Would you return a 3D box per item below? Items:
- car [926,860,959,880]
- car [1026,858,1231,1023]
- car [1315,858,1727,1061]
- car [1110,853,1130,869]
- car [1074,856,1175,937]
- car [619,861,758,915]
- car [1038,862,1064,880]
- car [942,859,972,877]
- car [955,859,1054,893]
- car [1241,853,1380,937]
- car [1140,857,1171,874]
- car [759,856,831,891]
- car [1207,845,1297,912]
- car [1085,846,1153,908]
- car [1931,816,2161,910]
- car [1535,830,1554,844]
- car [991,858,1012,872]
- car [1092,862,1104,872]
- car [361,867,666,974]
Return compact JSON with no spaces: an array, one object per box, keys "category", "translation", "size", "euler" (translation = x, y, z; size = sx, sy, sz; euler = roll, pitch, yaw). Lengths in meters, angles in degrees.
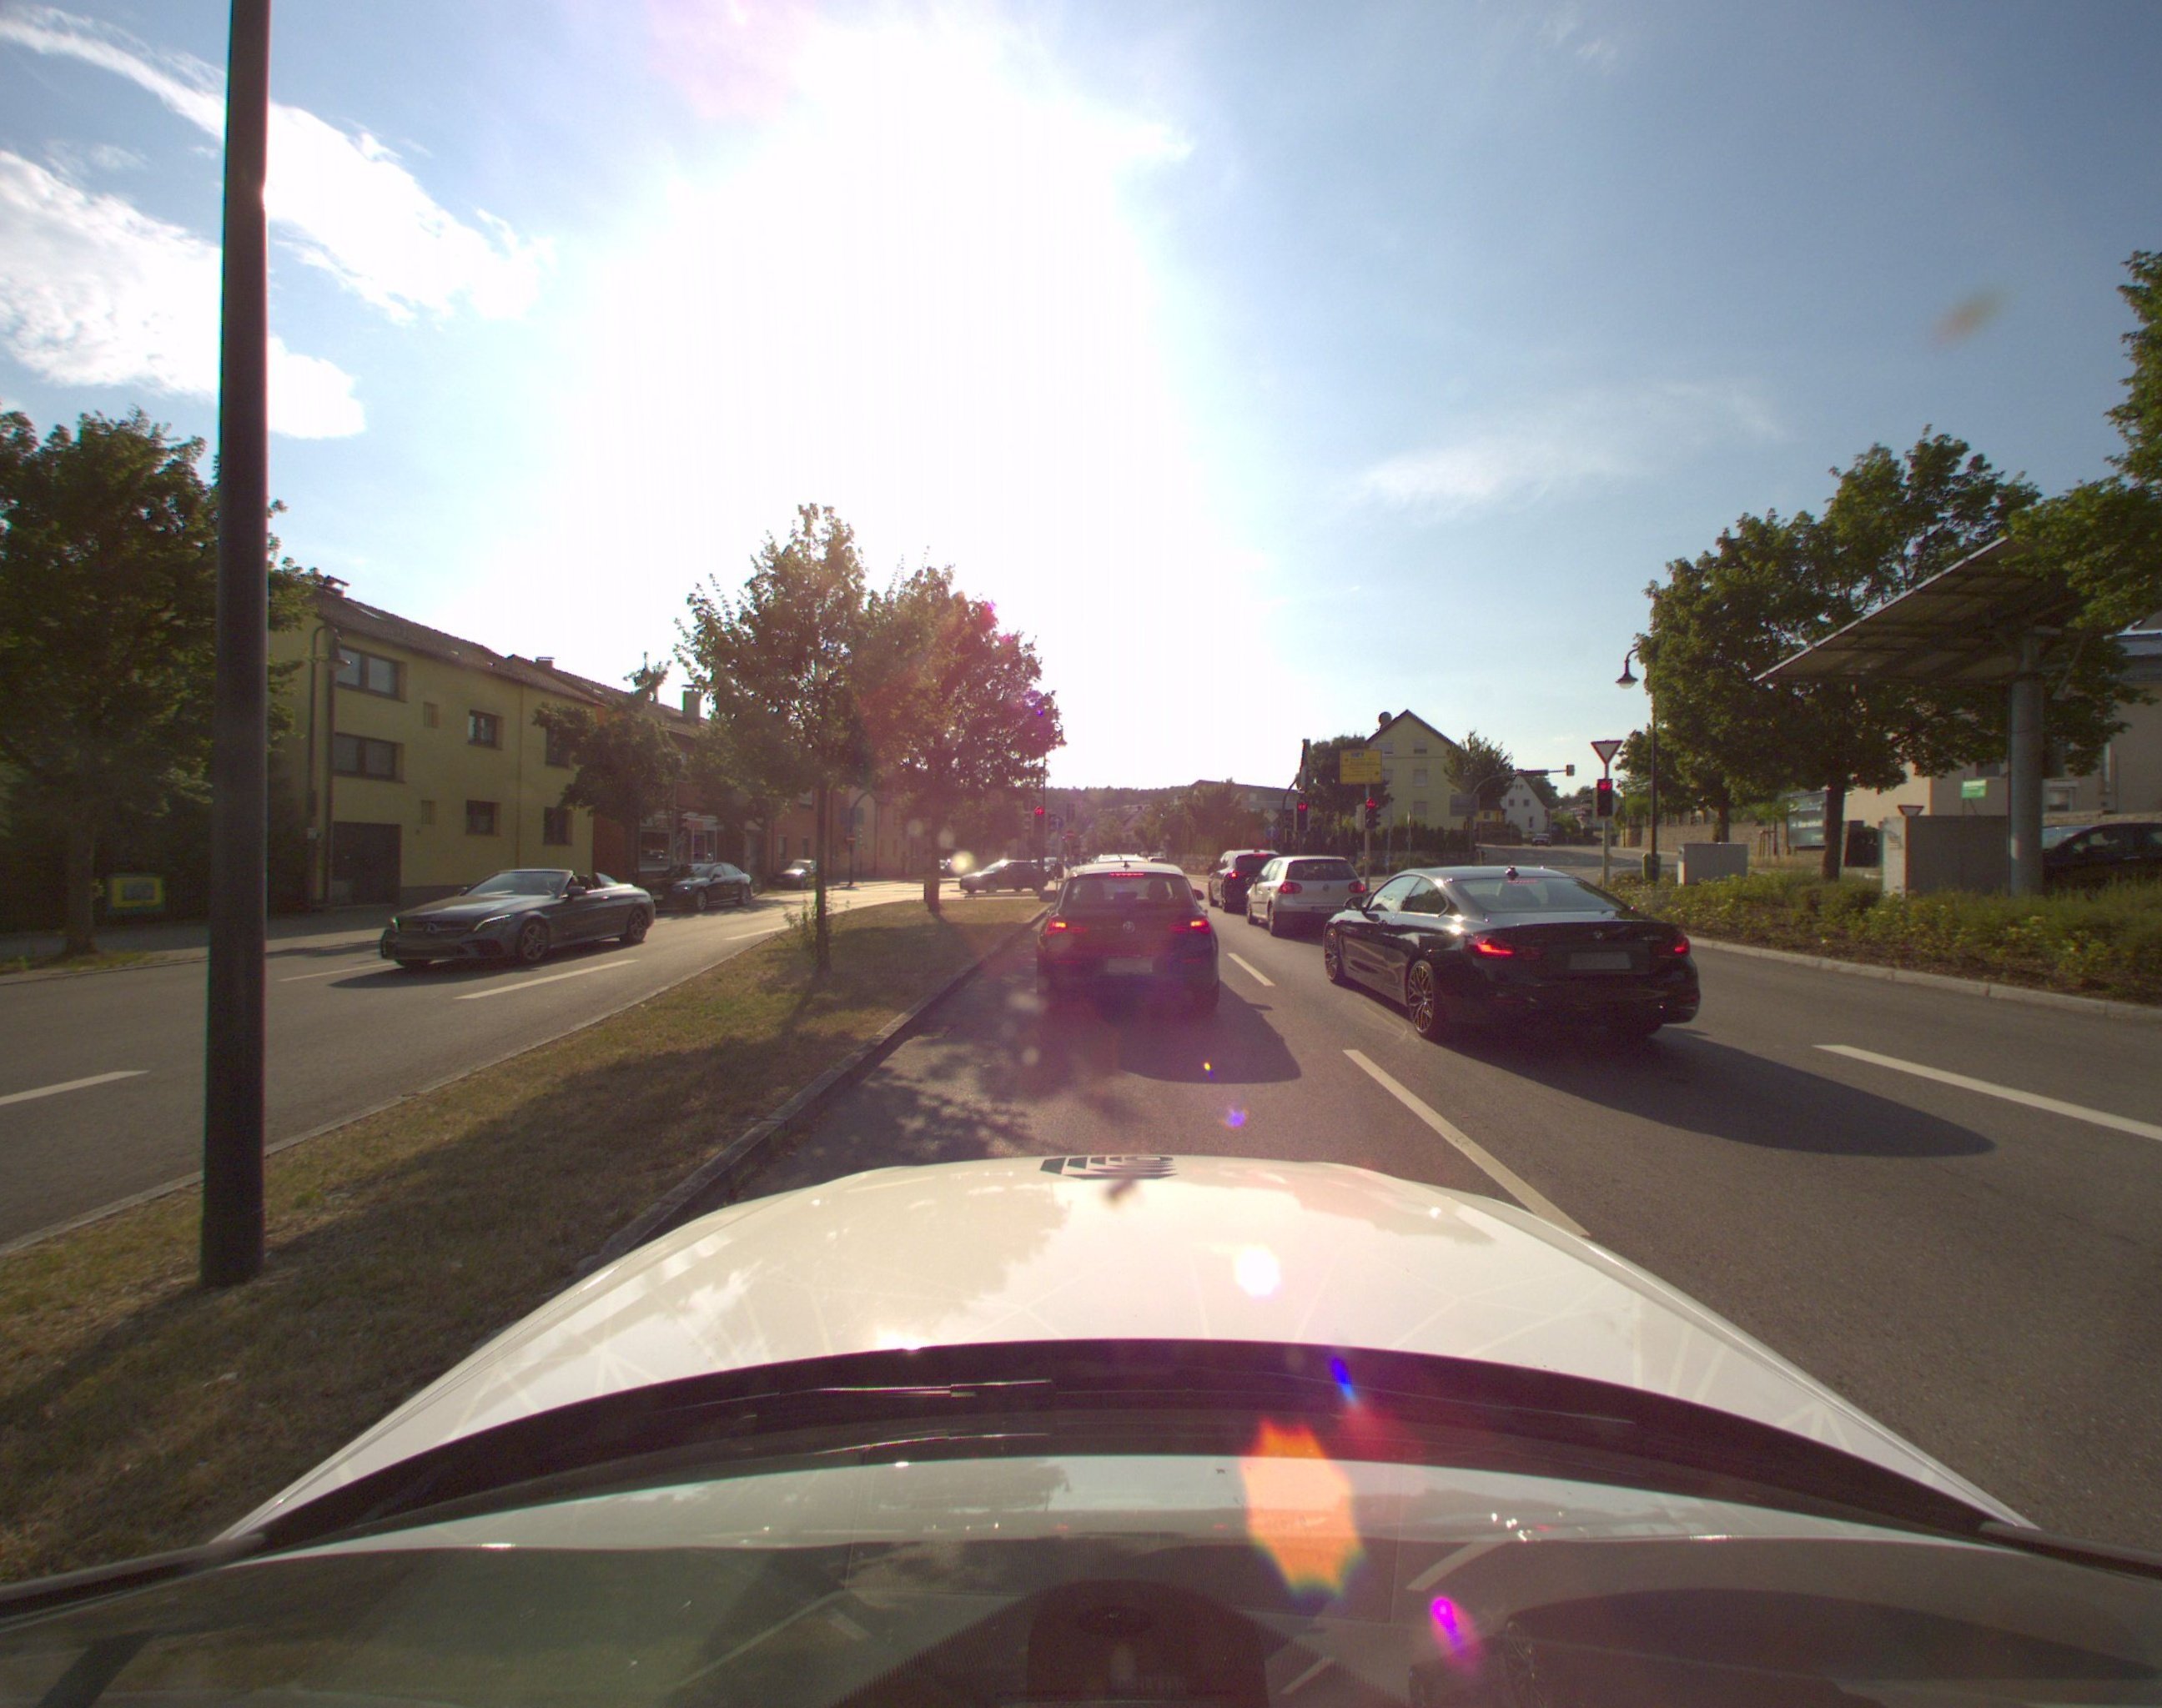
[{"category":"car","translation":[-11.858,1.329,69.943],"size":[1.916,1.596,4.004],"euler":[0,0,3]},{"category":"car","translation":[0.538,0.771,9.294],"size":[1.783,1.414,4.350],"euler":[-1,0,3]},{"category":"car","translation":[3.672,0.744,7.833],"size":[1.808,1.388,4.350],"euler":[-1,0,3]},{"category":"car","translation":[4.498,0.824,94.567],"size":[1.887,1.702,4.517],"euler":[-2,0,-4]},{"category":"car","translation":[0.900,0.773,16.821],"size":[1.808,1.451,4.245],"euler":[-1,0,3]},{"category":"car","translation":[-11.703,0.956,24.669],"size":[1.836,1.422,4.646],"euler":[0,0,2]},{"category":"car","translation":[-2.349,1.297,64.504],"size":[1.685,1.353,4.004],"euler":[0,0,4]},{"category":"car","translation":[-11.453,1.307,75.330],"size":[1.916,1.596,4.004],"euler":[0,0,3]},{"category":"car","translation":[-3.364,0.951,36.423],"size":[4.210,1.386,1.631],"euler":[0,0,-38]},{"category":"car","translation":[4.445,0.720,16.427],"size":[1.808,1.446,4.350],"euler":[-1,0,3]},{"category":"car","translation":[6.580,1.010,72.221],"size":[1.860,1.485,4.648],"euler":[0,0,-7]},{"category":"car","translation":[-14.060,0.915,40.259],"size":[1.835,1.552,4.005],"euler":[2,0,4]},{"category":"car","translation":[4.621,0.628,22.557],"size":[1.808,1.666,4.350],"euler":[-1,0,3]},{"category":"car","translation":[1.136,0.628,23.923],"size":[1.808,1.641,4.245],"euler":[-1,0,3]},{"category":"car","translation":[18.623,0.158,14.852],"size":[3.958,1.608,1.861],"euler":[0,0,14]},{"category":"car","translation":[53.285,-1.961,93.576],"size":[1.769,1.506,4.096],"euler":[0,4,31]},{"category":"car","translation":[-9.747,1.321,100.080],"size":[1.916,1.596,4.004],"euler":[0,0,3]},{"category":"car","translation":[2.845,2.163,135.089],"size":[1.917,1.596,4.001],"euler":[0,0,2]},{"category":"car","translation":[-8.712,0.919,13.114],"size":[1.775,1.349,4.477],"euler":[0,0,0]}]
